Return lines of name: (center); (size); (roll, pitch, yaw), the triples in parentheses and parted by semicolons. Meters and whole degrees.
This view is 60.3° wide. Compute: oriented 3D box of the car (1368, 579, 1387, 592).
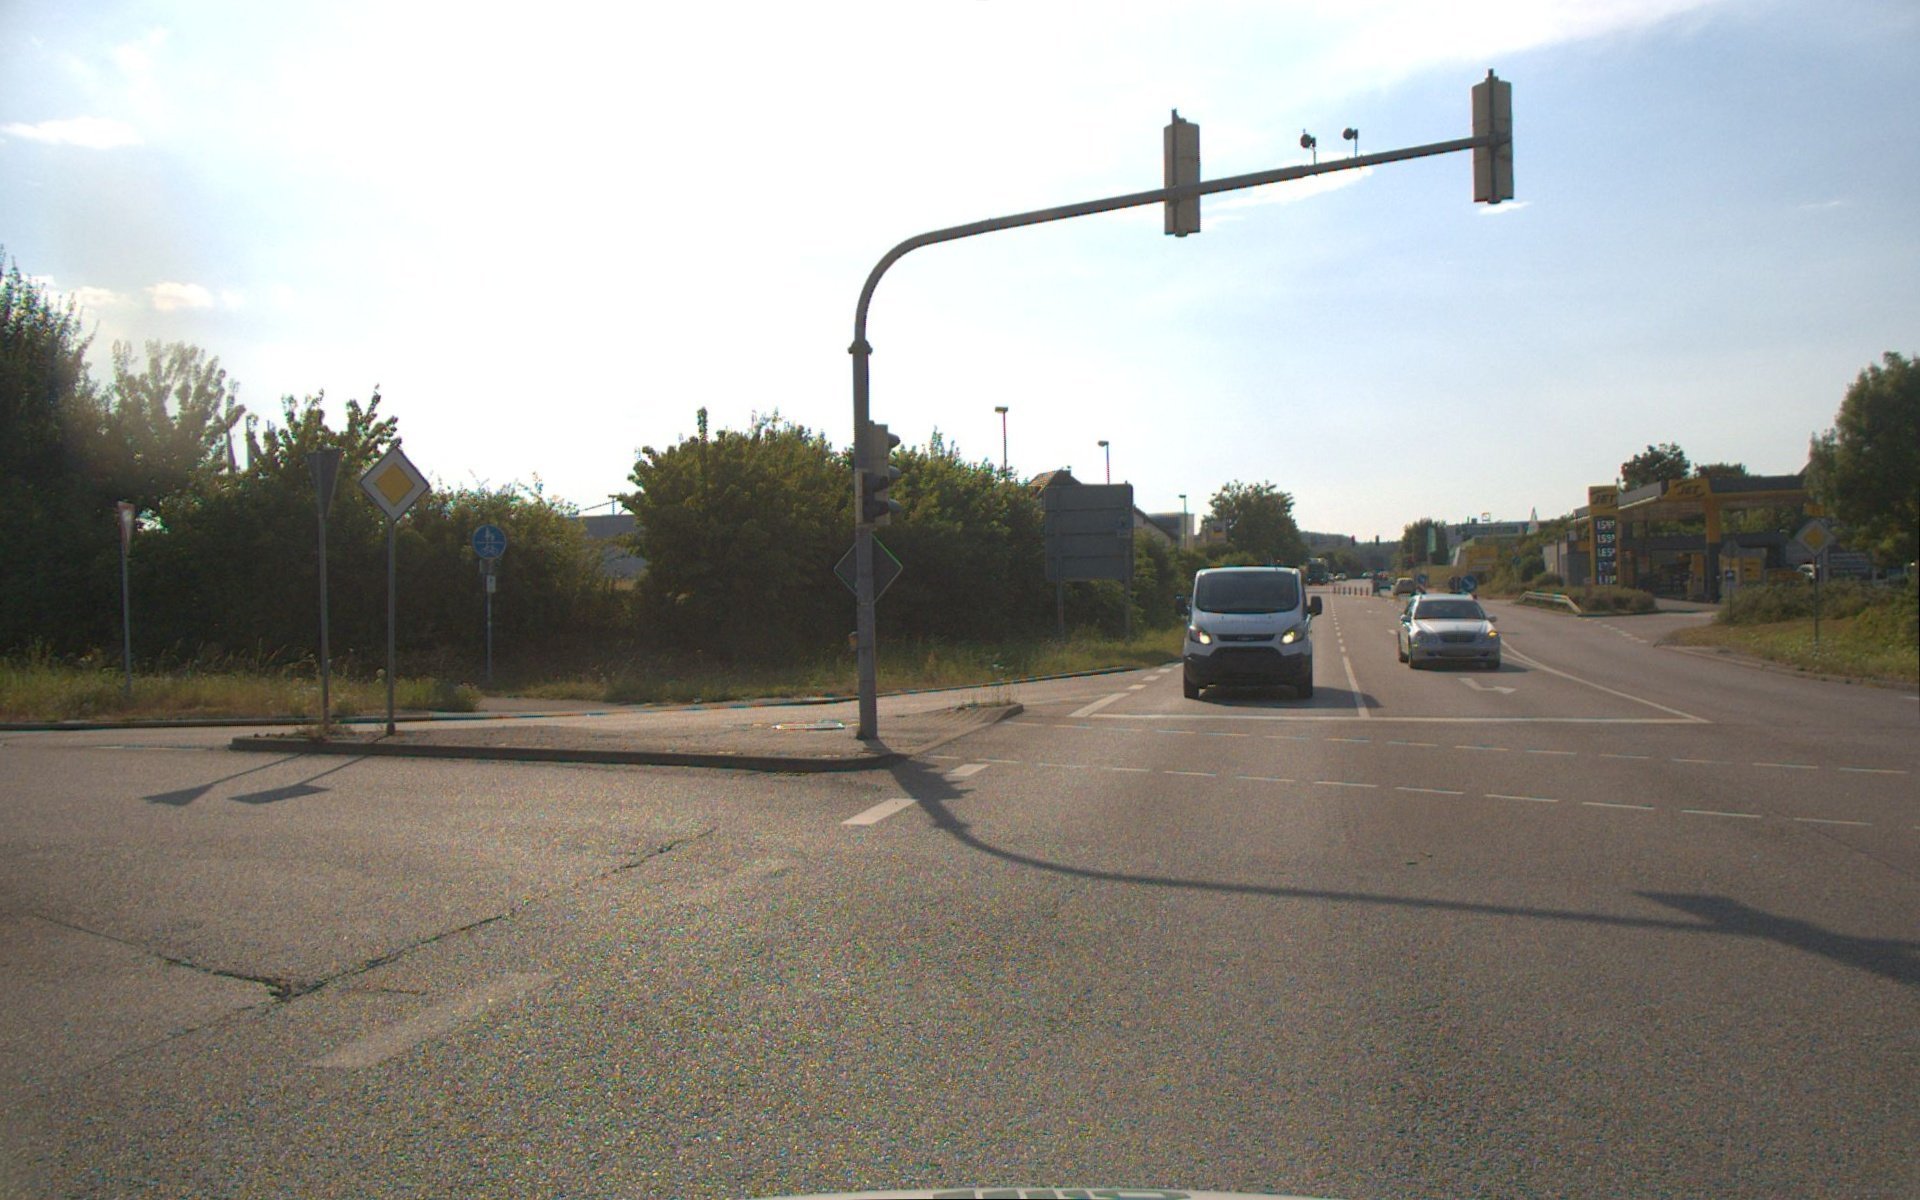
car: (45.819, -1.556, 181.594); (1.703, 1.376, 3.206); (0, -1, 8)

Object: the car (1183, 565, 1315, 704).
car: (4.494, 0.439, 26.266); (1.860, 1.981, 4.823); (1, 1, 8)

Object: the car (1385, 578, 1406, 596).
car: (36.618, -1.065, 139.143); (1.517, 1.474, 3.052); (0, -1, 12)

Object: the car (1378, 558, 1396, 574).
car: (59.040, -4.684, 228.665); (1.951, 2.049, 4.003); (0, -1, 8)

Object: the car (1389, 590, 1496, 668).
car: (10.266, 0.608, 35.462); (1.817, 1.540, 4.957); (0, -1, 12)
